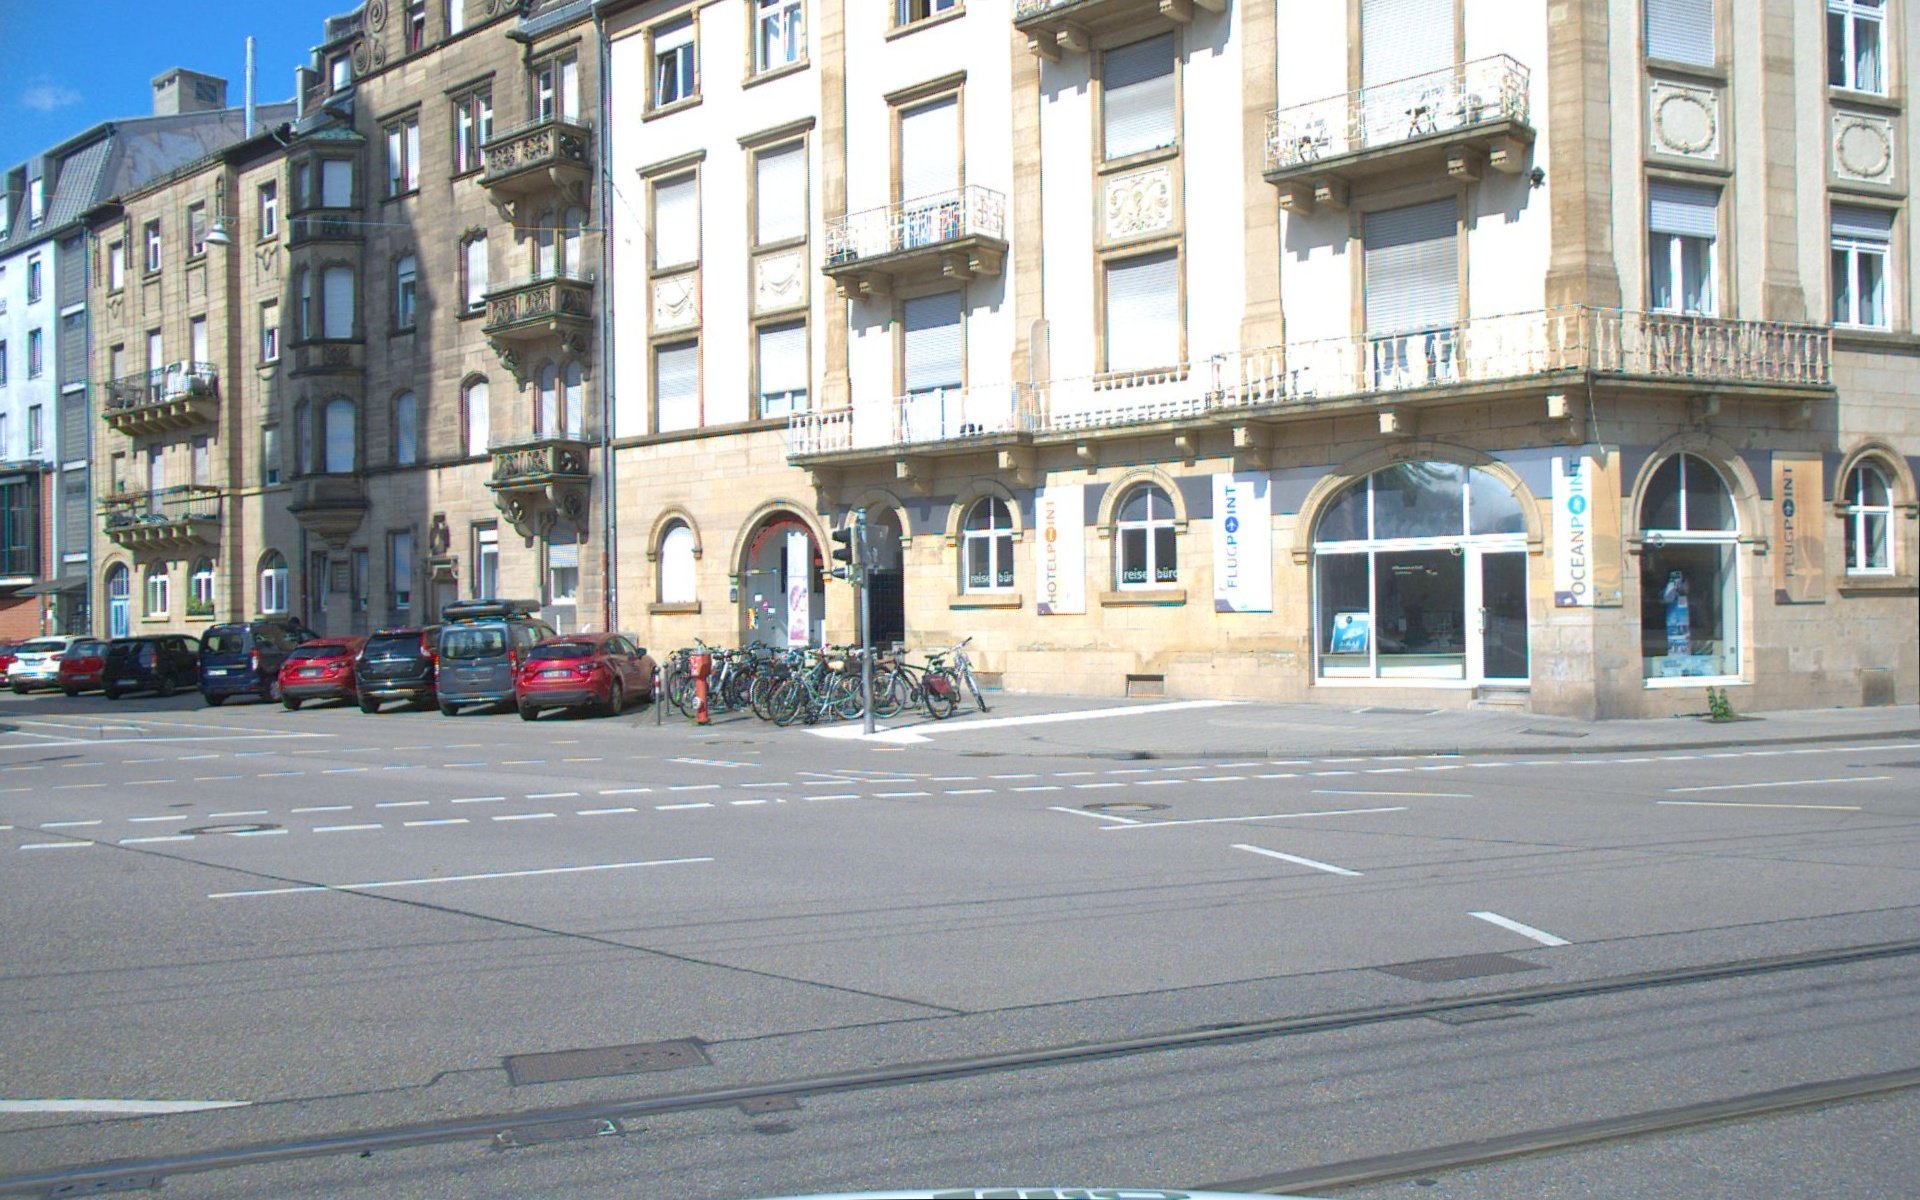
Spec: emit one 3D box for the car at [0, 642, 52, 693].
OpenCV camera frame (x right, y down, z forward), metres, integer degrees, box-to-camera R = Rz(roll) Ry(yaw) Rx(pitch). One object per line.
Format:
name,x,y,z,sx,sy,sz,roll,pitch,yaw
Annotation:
car,-29.476,2.093,50.251,1.567,1.421,3.575,-2,1,4

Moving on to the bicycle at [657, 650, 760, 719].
bicycle,-4.351,1.450,28.742,0.529,1.036,1.922,-2,2,36

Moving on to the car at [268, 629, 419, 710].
car,-13.736,1.517,37.085,1.872,1.469,4.000,-2,1,-1

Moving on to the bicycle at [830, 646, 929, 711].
bicycle,-1.398,1.333,28.468,1.896,1.036,0.536,-2,2,45

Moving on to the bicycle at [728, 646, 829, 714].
bicycle,-3.205,1.406,29.319,0.530,1.036,1.919,-2,2,39

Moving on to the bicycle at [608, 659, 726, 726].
bicycle,-4.818,1.522,27.176,1.884,1.036,0.540,-2,1,24

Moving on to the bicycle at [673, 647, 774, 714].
bicycle,-4.247,1.439,29.824,0.530,1.036,1.919,-2,2,39

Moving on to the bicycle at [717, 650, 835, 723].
bicycle,-3.061,1.427,27.589,1.908,1.036,0.533,-4,1,-36

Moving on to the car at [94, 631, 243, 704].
car,-20.517,1.716,43.059,1.669,1.573,4.003,-2,1,4

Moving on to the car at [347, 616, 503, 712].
car,-11.151,1.291,34.743,1.669,1.697,4.003,-2,1,4

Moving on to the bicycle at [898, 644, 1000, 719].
bicycle,-0.163,1.285,26.463,0.598,1.036,1.869,-2,1,37

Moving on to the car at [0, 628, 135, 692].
car,-25.171,1.656,46.695,1.567,1.526,3.778,-2,1,4

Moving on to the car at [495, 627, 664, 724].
car,-6.993,1.347,30.841,1.920,1.466,4.003,-2,1,4

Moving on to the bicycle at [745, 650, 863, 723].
bicycle,-2.559,1.406,27.274,1.907,1.036,0.533,-3,1,-36

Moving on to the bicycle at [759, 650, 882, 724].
bicycle,-2.237,1.389,26.564,1.846,1.036,0.598,-3,1,-24

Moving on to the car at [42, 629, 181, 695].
car,-22.965,1.653,44.927,1.567,1.481,3.778,-2,1,4

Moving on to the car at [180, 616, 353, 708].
car,-16.388,1.425,39.314,1.869,1.856,4.004,-2,1,10

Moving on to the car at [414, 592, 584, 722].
car,-9.123,1.076,33.087,1.920,2.118,4.004,-2,4,4

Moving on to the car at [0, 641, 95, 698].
car,-27.350,2.048,48.767,1.567,1.421,3.575,-2,1,4

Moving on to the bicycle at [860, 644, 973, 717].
bicycle,-0.698,1.302,27.026,1.860,1.036,0.601,-3,1,-41

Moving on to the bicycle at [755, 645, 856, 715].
bicycle,-2.676,1.380,28.894,0.530,1.036,1.919,-2,2,39
